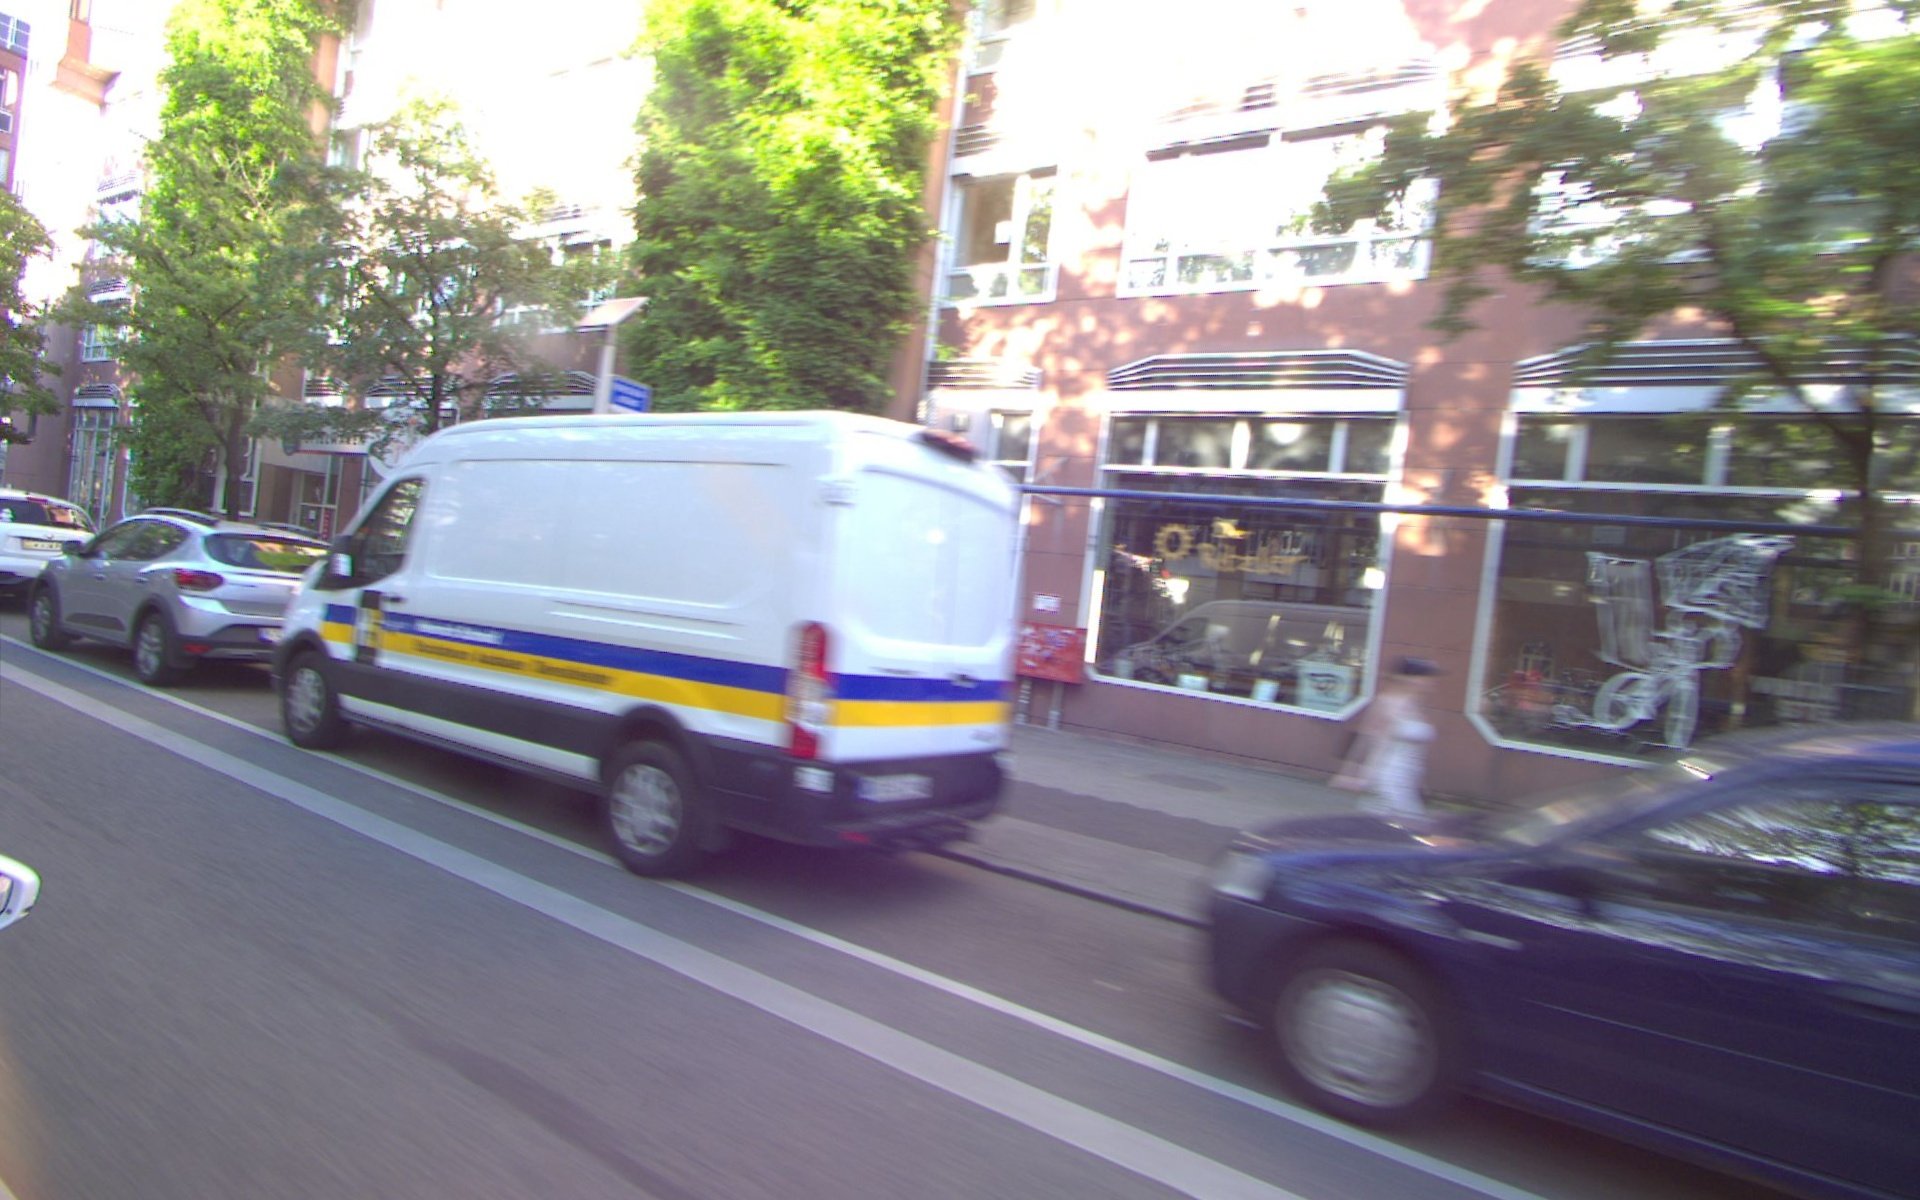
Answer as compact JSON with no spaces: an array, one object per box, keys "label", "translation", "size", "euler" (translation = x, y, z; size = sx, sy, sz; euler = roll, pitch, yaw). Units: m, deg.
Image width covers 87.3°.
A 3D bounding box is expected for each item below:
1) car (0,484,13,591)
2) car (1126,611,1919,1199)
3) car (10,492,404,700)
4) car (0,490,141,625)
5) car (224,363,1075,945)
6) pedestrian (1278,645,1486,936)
[{"label":"car","translation":[-17.503,-1.265,16.439],"size":[4.366,1.691,1.789],"euler":[7,0,32]},{"label":"car","translation":[3.036,1.148,3.379],"size":[4.401,1.646,1.806],"euler":[7,0,32]},{"label":"car","translation":[-7.790,-0.077,10.338],"size":[3.934,1.598,1.831],"euler":[7,0,32]},{"label":"car","translation":[-13.272,-0.720,13.841],"size":[3.934,1.598,1.831],"euler":[7,0,32]},{"label":"car","translation":[-2.422,0.032,6.911],"size":[5.808,2.596,2.117],"euler":[7,0,32]},{"label":"pedestrian","translation":[2.659,1.131,6.322],"size":[0.941,1.565,0.741],"euler":[7,1,32]}]
